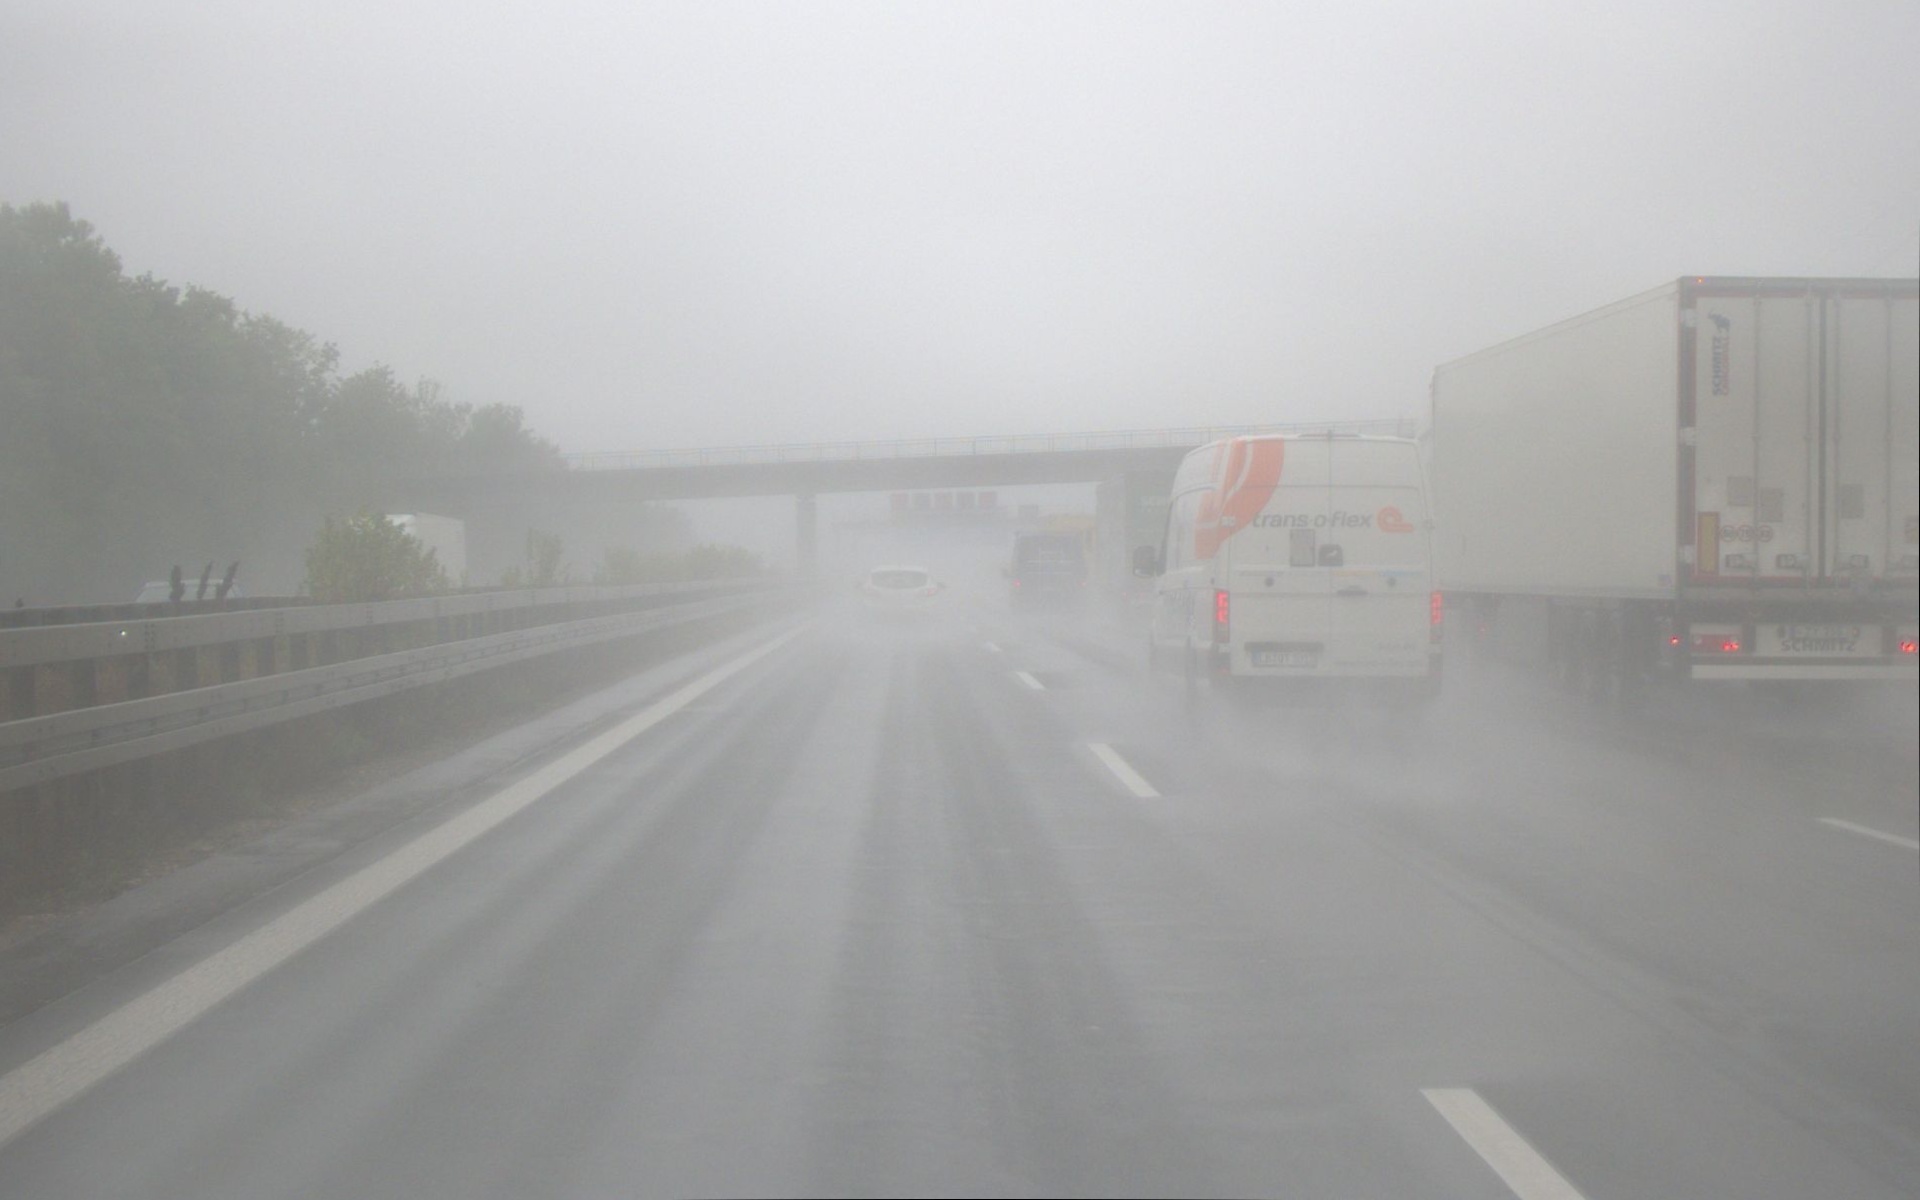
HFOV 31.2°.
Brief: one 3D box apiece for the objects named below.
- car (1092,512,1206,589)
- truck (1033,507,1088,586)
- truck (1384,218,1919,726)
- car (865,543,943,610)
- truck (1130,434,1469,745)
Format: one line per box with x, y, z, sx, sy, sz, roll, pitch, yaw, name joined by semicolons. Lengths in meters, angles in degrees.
5.201;-1.406;95.423;2.788;2.006;4.993;1;2;-1;car
4.554;-2.481;157.197;2.109;3.504;5.248;1;2;-2;truck
7.631;-1.293;39.379;3.039;4.572;16.352;1;1;-2;truck
-1.203;-0.522;74.051;1.605;1.333;3.849;1;2;-1;car
2.881;-0.172;30.590;2.419;2.484;5.560;1;2;0;truck
